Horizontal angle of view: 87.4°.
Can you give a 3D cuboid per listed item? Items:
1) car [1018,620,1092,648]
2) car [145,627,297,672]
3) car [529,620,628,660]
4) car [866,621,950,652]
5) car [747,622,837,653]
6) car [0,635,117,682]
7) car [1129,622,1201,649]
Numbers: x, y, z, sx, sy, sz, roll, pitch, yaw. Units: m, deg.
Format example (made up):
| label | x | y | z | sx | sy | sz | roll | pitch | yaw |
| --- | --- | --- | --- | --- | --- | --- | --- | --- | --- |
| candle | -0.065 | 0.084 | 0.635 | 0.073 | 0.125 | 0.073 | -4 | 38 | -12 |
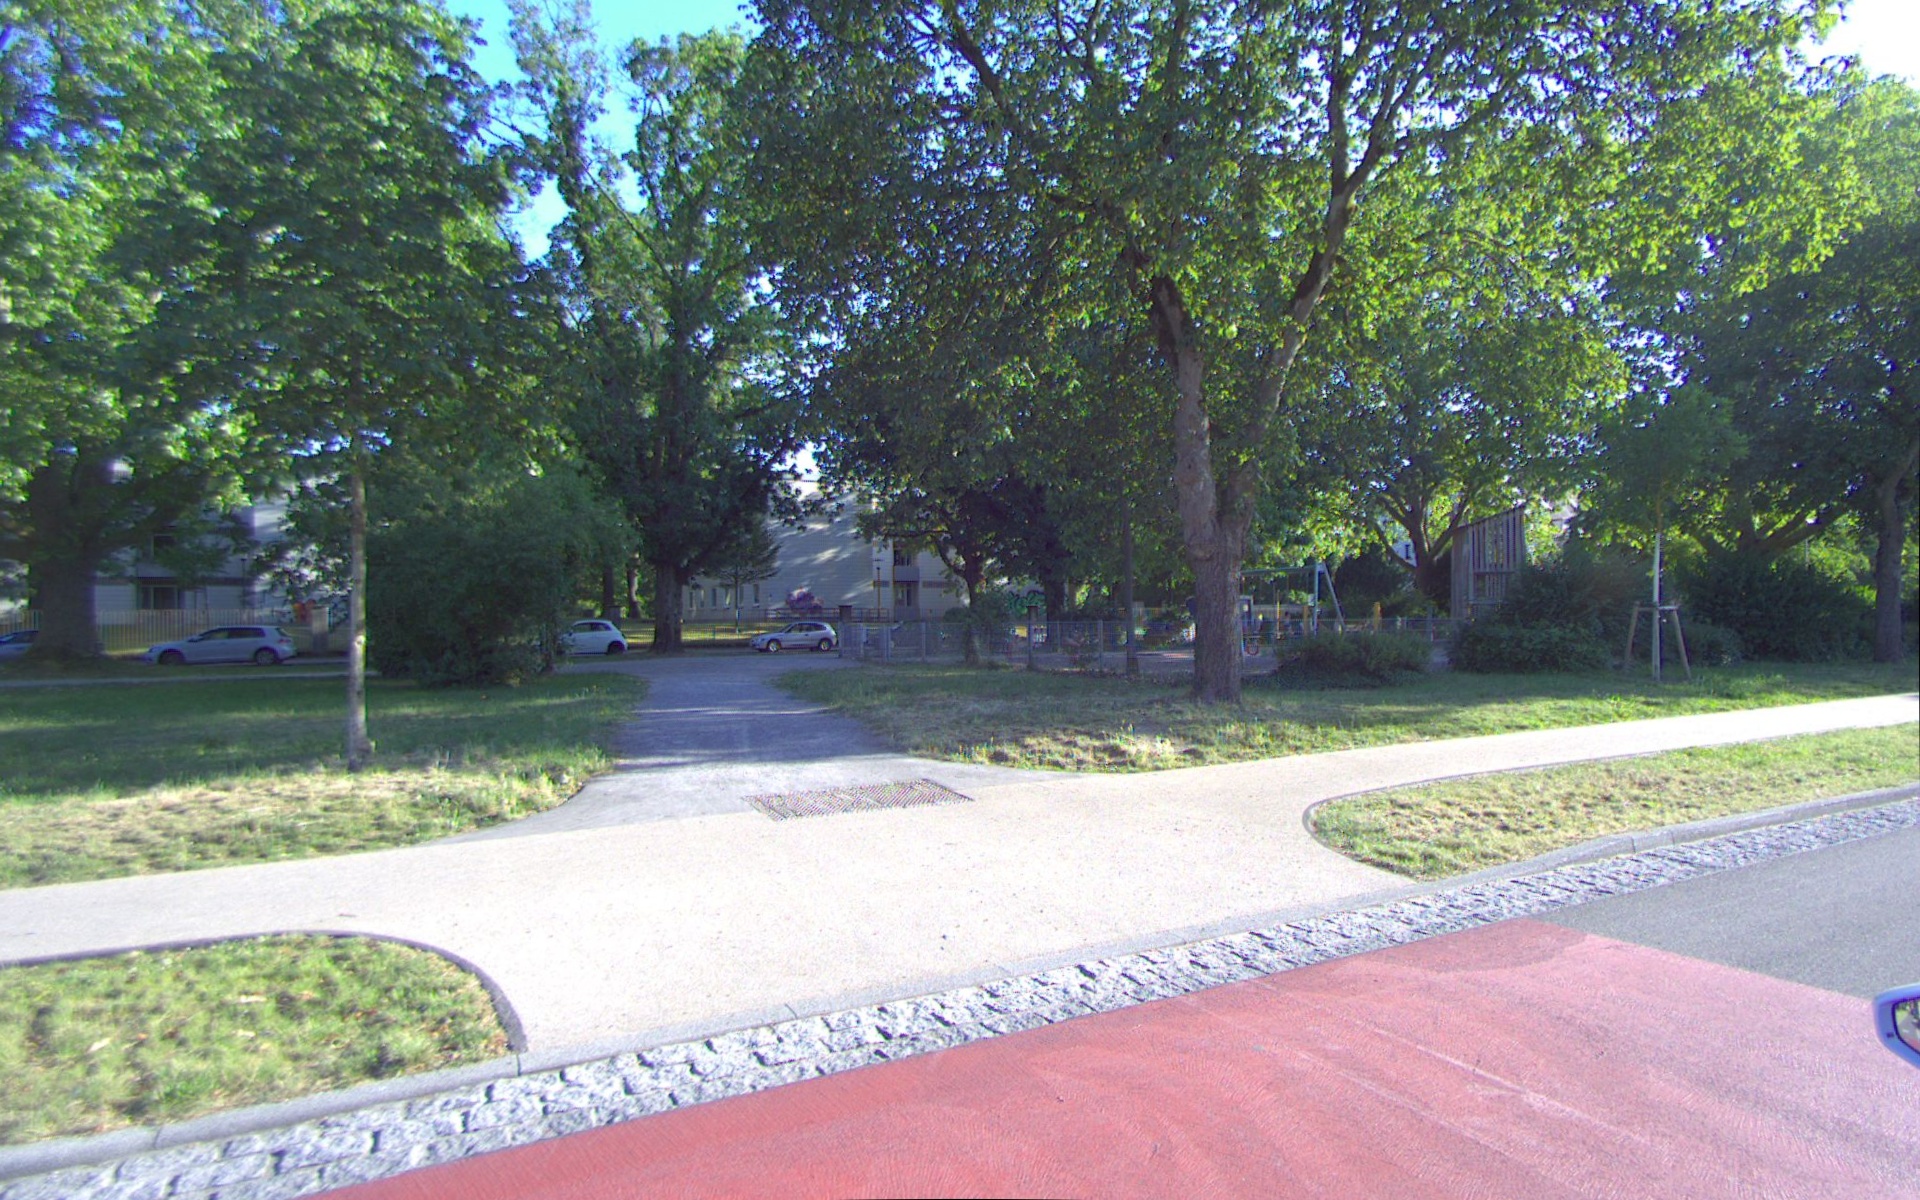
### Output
| label | x | y | z | sx | sy | sz | roll | pitch | yaw |
| --- | --- | --- | --- | --- | --- | --- | --- | --- | --- |
| car | 5.003 | 1.758 | 52.842 | 3.704 | 1.386 | 1.516 | 0 | 0 | -27 |
| car | -25.526 | 1.693 | 34.882 | 4.057 | 1.386 | 1.515 | 0 | 0 | -29 |
| car | -15.392 | 1.591 | 40.556 | 3.615 | 1.483 | 1.595 | 0 | 0 | -27 |
| car | -2.465 | 1.710 | 47.789 | 3.704 | 1.386 | 1.516 | 0 | 0 | -27 |
| car | -7.550 | 1.660 | 45.141 | 3.704 | 1.309 | 1.516 | 0 | 0 | -27 |
| car | -30.002 | 1.897 | 32.616 | 3.746 | 1.386 | 1.515 | 0 | 0 | -29 |
| car | 11.196 | 1.919 | 54.761 | 3.704 | 1.386 | 1.516 | 0 | 0 | -27 |
